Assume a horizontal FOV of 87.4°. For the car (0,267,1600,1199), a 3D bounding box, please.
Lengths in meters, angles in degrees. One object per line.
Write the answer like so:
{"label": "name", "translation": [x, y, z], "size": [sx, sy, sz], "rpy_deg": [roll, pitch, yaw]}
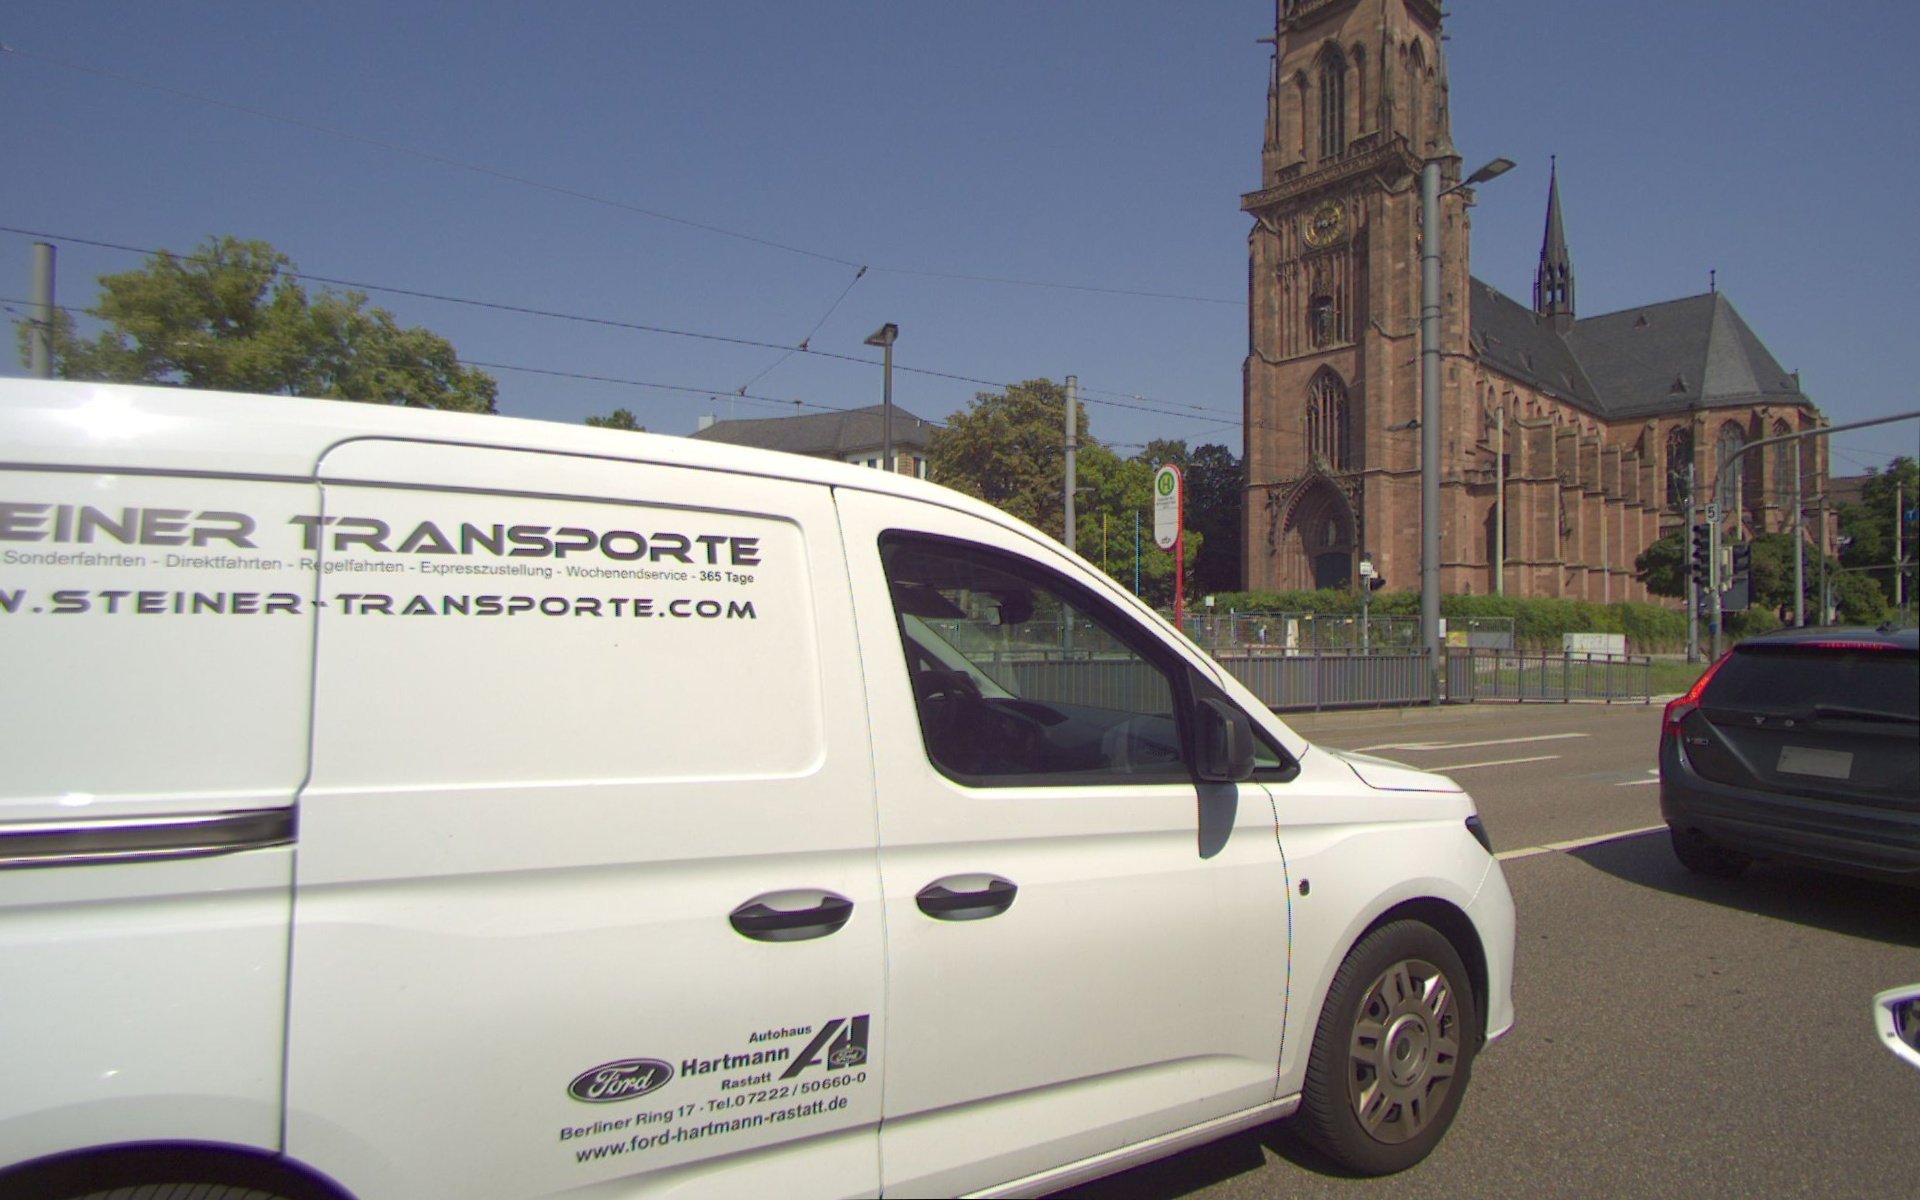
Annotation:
{"label": "car", "translation": [-0.333, 0.554, 2.695], "size": [4.189, 1.844, 1.739], "rpy_deg": [1, -1, -30]}

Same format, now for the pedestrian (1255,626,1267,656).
{"label": "pedestrian", "translation": [15.755, 2.155, 52.587], "size": [0.533, 1.551, 0.436], "rpy_deg": [0, -1, 11]}

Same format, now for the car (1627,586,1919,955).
{"label": "car", "translation": [5.928, 0.792, 5.822], "size": [4.257, 1.636, 1.739], "rpy_deg": [1, 0, -30]}
